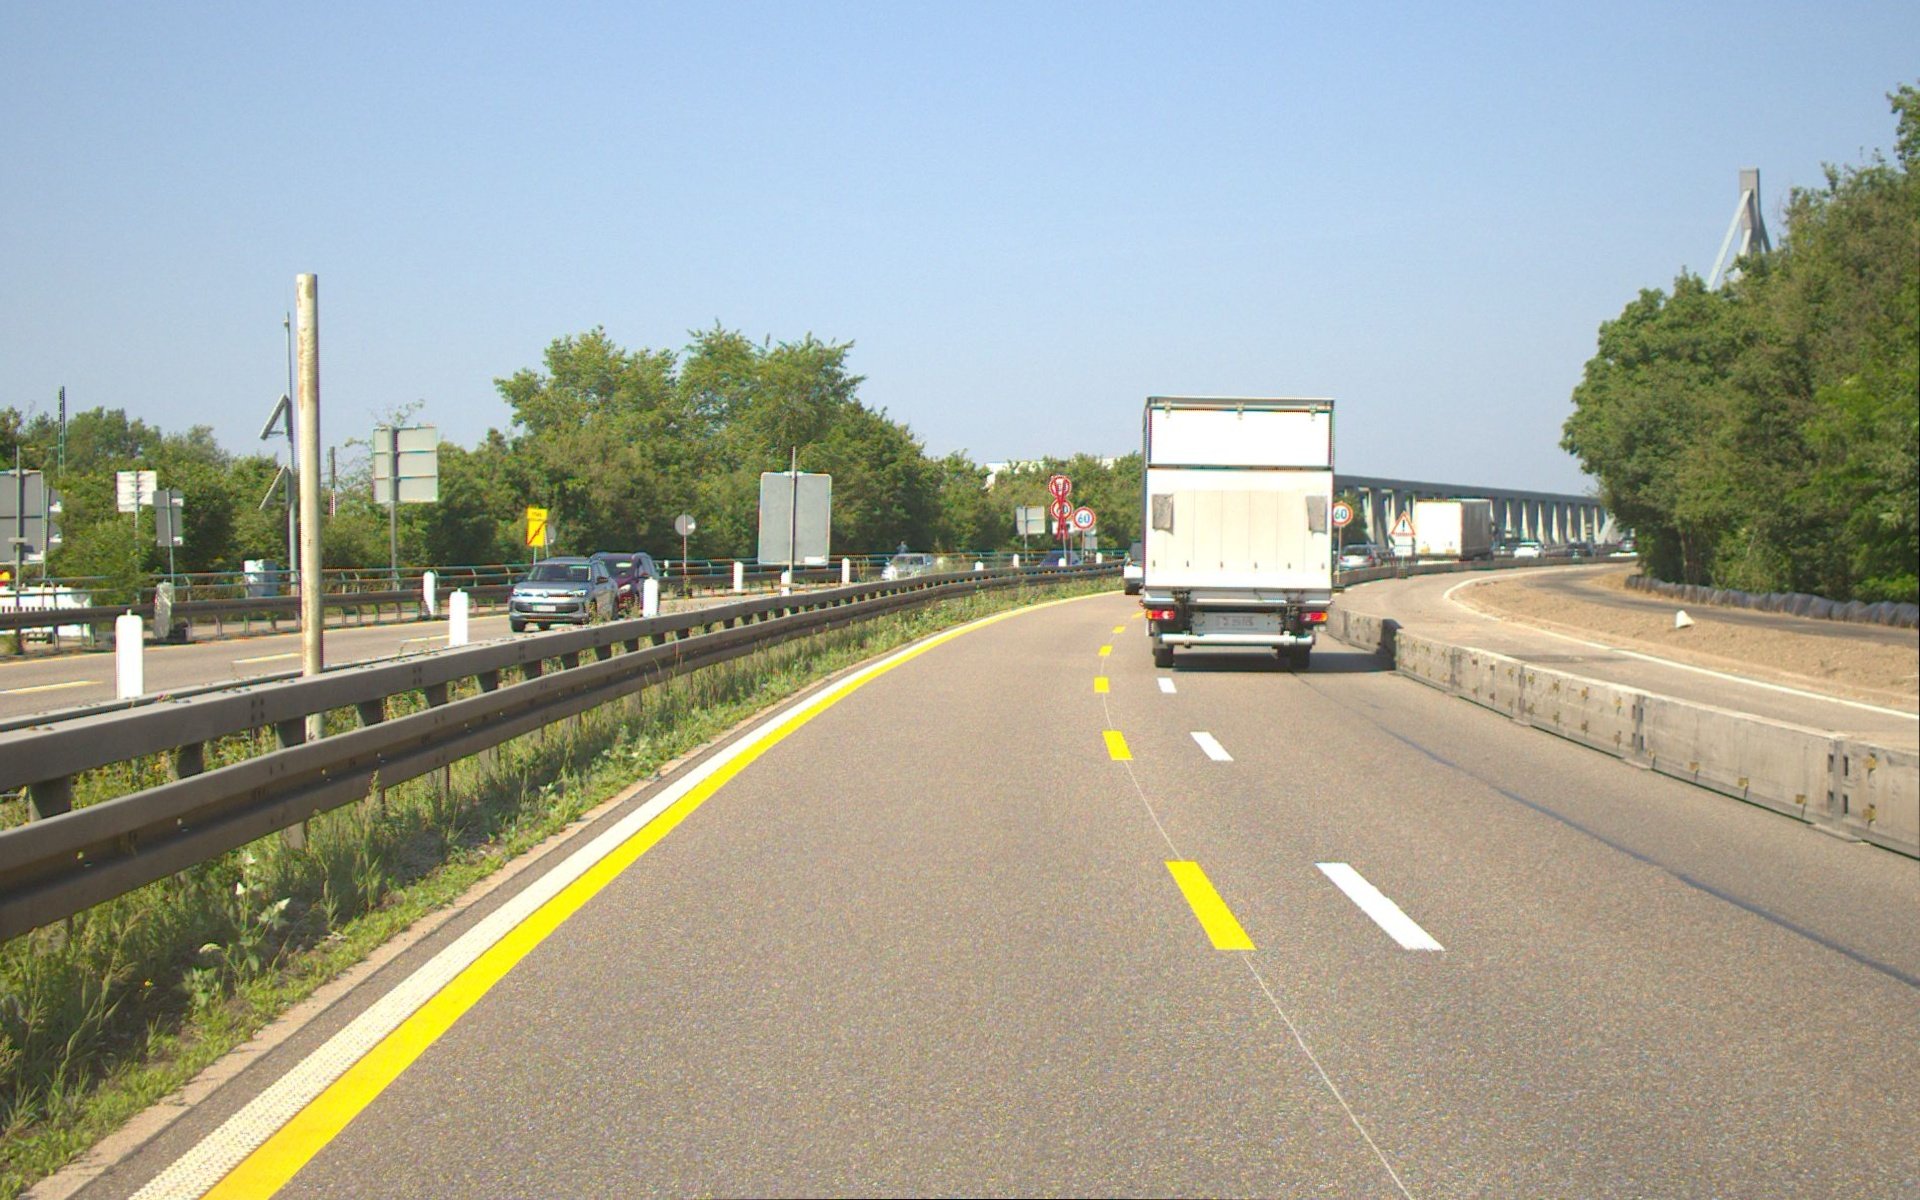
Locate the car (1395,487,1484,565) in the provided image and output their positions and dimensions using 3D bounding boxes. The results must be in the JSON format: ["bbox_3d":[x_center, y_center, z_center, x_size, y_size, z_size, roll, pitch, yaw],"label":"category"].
[{"bbox_3d":[27.735,-4.332,198.507,4.209,4.237,10.656,-2,1,12],"label":"car"}]

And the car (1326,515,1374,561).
[{"bbox_3d":[18.059,-2.885,159.087,1.994,2.006,3.999,-2,1,9],"label":"car"}]

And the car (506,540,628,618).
[{"bbox_3d":[-8.903,-0.492,78.160,1.909,1.645,4.376,-1,1,4],"label":"car"}]

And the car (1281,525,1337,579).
[{"bbox_3d":[13.896,-1.909,136.600,1.994,2.006,3.999,-2,1,8],"label":"car"}]

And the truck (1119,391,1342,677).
[{"bbox_3d":[3.665,-0.877,45.272,2.635,3.415,7.231,1,1,6],"label":"truck"}]

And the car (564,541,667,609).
[{"bbox_3d":[-9.415,-0.712,94.325,1.909,1.728,5.020,-1,1,4],"label":"car"}]

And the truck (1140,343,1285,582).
[{"bbox_3d":[5.066,-2.665,68.300,2.635,4.453,7.232,1,1,5],"label":"truck"}]

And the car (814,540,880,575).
[{"bbox_3d":[-4.786,-1.834,146.876,1.885,1.415,4.858,-1,1,9],"label":"car"}]
